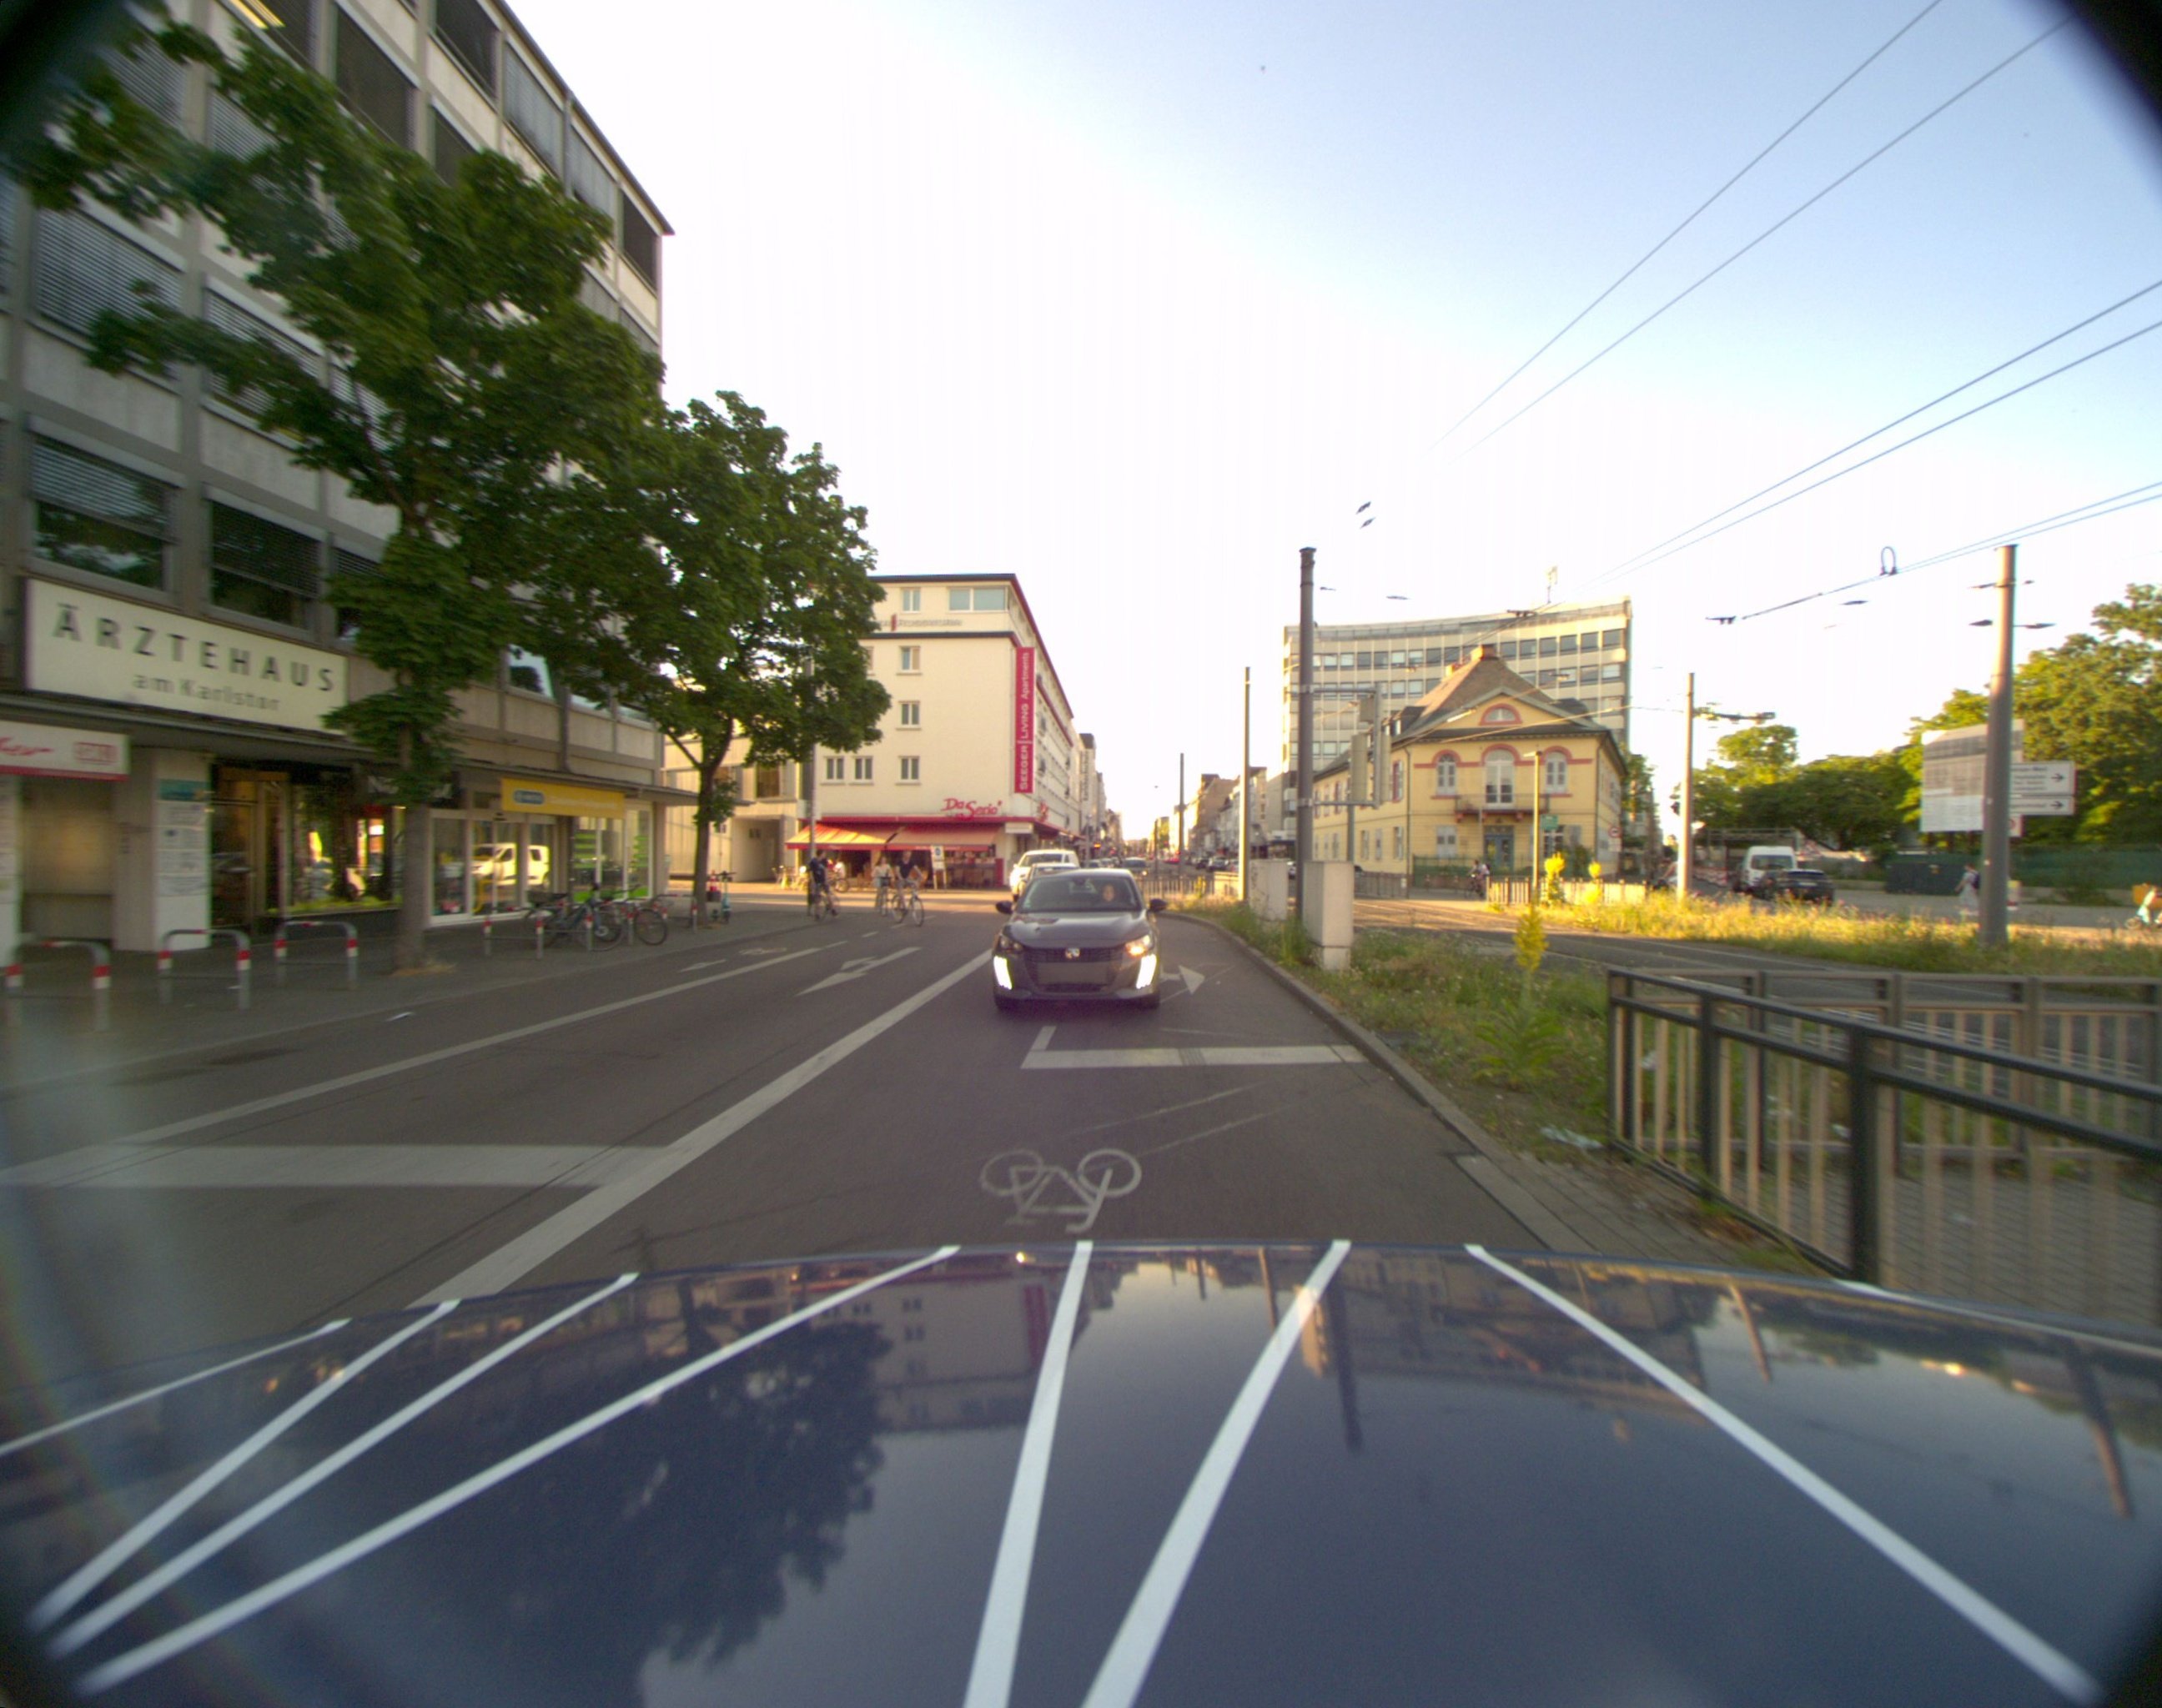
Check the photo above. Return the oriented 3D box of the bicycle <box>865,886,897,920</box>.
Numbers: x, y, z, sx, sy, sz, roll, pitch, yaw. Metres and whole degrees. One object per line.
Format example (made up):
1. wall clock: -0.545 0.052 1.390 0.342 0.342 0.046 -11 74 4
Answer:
1. bicycle: -5.588 1.338 21.181 0.601 0.820 1.736 0 0 -23

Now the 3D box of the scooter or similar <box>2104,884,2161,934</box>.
1. scooter or similar: 28.669 1.473 20.284 0.613 1.252 1.522 0 1 -45

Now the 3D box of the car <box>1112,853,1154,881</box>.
1. car: 3.344 0.783 48.005 1.996 1.565 4.306 1 1 13

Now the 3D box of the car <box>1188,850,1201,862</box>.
1. car: 22.499 0.360 150.294 1.998 2.362 4.000 1 0 1

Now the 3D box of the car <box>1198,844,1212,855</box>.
1. car: 23.581 -0.845 144.330 1.999 2.002 3.999 -2 1 -1

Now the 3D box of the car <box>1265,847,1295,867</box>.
1. car: 17.983 0.253 68.691 1.736 1.698 3.805 2 1 2

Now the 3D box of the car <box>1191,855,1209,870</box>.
1. car: 16.606 1.166 105.840 1.998 1.978 4.120 1 0 2

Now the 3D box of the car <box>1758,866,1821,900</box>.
1. car: 33.487 1.312 36.008 1.729 1.421 4.483 2 1 38

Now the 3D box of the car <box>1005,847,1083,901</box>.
1. car: -1.240 0.690 28.056 1.998 1.827 4.879 0 -1 8

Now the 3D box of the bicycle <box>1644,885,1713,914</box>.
1. bicycle: 20.807 1.563 26.503 0.681 0.887 1.793 0 1 -21

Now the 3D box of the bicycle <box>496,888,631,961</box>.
1. bicycle: -8.571 1.159 12.632 1.745 1.133 0.666 1 1 -4

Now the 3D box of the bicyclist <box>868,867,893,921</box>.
1. bicyclist: -5.601 1.105 21.216 0.589 1.478 0.716 0 1 -23

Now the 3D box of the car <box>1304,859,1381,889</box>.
1. car: 14.759 1.081 43.154 2.001 1.508 4.408 -2 1 -15

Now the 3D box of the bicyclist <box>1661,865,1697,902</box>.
1. bicyclist: 20.832 1.008 26.458 0.669 1.250 0.727 0 1 -21

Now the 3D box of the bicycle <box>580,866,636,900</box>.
1. bicycle: -17.056 1.032 27.428 0.538 1.179 1.721 1 -2 21

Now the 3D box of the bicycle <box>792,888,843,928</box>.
1. bicycle: -6.680 1.349 19.323 0.675 0.896 1.690 0 0 1

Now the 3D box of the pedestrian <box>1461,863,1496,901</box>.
1. pedestrian: 16.276 1.131 31.133 1.041 1.494 1.007 1 1 41

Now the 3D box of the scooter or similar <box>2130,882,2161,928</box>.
1. scooter or similar: 27.937 1.321 19.327 1.400 1.159 0.462 1 1 44

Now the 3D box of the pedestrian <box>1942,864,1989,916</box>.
1. pedestrian: 30.249 1.204 26.000 0.876 1.714 0.831 2 2 42

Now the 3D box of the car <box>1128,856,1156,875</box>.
1. car: 4.994 0.916 61.241 2.038 1.432 4.663 1 0 7

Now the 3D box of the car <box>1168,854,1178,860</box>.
1. car: 21.091 0.702 174.403 1.848 1.499 3.999 1 0 -1

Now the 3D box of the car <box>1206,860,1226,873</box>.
1. car: 15.461 1.387 87.099 2.016 1.420 4.658 0 0 7

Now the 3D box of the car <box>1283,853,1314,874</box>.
1. car: 18.097 0.800 63.392 1.736 1.698 3.439 1 0 2

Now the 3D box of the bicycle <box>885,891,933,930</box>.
1. bicycle: -4.249 1.368 18.651 0.616 0.820 1.801 0 0 -31

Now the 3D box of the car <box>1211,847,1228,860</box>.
1. car: 21.456 -0.144 117.619 1.998 1.936 4.000 0 0 1

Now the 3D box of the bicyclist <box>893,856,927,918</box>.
1. bicyclist: -4.169 0.789 18.541 0.615 1.478 0.716 0 1 -31

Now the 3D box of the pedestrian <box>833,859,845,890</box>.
1. pedestrian: -11.432 0.980 35.861 0.509 1.441 0.506 0 1 -23

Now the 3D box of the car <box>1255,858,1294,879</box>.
1. car: 14.082 1.004 55.468 1.913 1.402 4.339 1 0 3

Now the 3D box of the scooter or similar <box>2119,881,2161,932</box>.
1. scooter or similar: 28.290 1.377 19.635 0.462 1.285 1.648 0 1 -45

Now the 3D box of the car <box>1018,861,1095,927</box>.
1. car: -0.783 0.992 20.760 1.816 1.441 4.559 0 1 -5

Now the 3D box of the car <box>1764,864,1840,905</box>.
1. car: 30.536 1.251 32.316 1.779 1.534 4.300 1 1 36

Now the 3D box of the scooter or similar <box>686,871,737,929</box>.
1. scooter or similar: -8.765 1.070 18.031 1.277 1.314 0.516 1 1 34

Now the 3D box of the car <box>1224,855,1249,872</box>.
1. car: 14.907 0.925 72.891 1.838 1.589 4.073 0 0 4

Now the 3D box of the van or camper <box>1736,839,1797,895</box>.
1. van or camper: 36.860 0.672 40.992 2.077 2.758 6.464 2 0 39

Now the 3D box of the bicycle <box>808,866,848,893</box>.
1. bicycle: -11.500 1.137 34.525 1.632 1.160 0.600 1 3 9

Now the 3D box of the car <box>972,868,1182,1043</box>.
1. car: -0.062 0.974 9.325 1.916 1.495 4.701 0 0 -1

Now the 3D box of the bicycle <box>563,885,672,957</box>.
1. bicycle: -8.278 1.183 13.590 1.635 1.178 0.538 1 1 4

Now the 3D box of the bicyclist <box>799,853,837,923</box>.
1. bicyclist: -6.677 0.842 19.293 0.665 1.717 0.810 1 1 0

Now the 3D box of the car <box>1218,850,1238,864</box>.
1. car: 20.206 0.427 104.792 1.998 1.936 4.000 0 0 1

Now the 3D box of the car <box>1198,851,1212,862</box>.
1. car: 22.427 0.417 137.293 1.998 1.936 4.000 0 0 1
